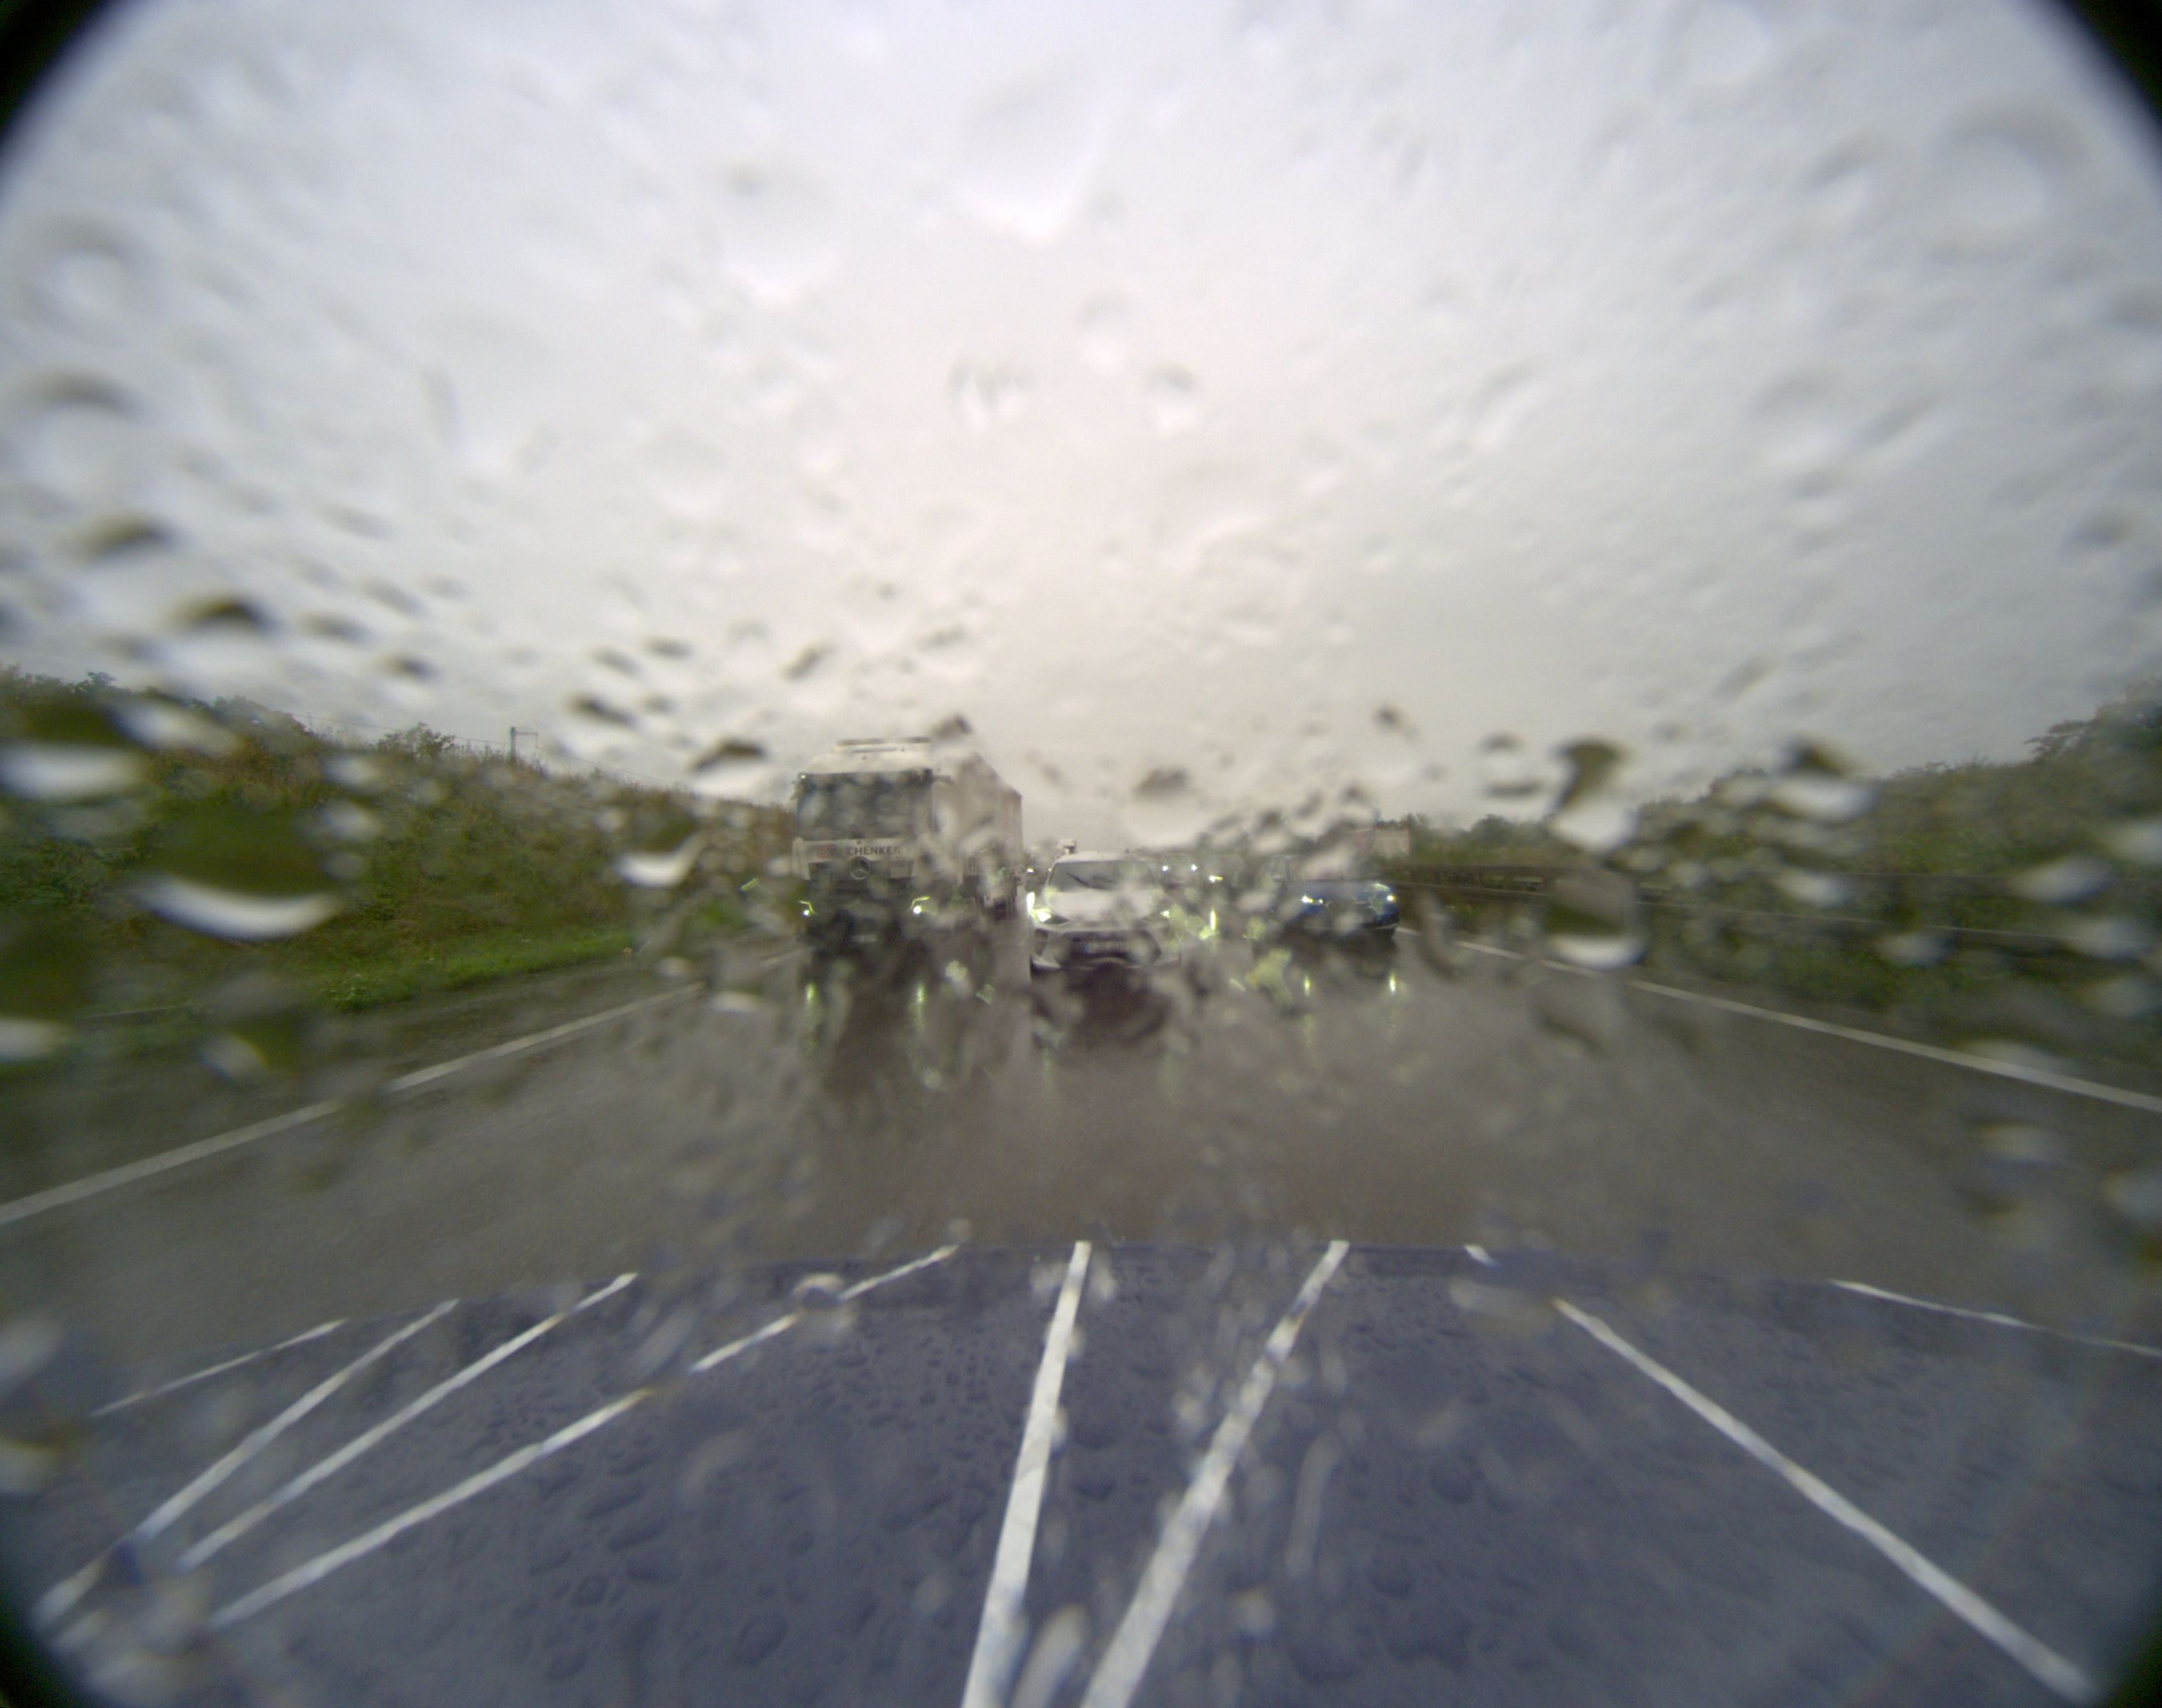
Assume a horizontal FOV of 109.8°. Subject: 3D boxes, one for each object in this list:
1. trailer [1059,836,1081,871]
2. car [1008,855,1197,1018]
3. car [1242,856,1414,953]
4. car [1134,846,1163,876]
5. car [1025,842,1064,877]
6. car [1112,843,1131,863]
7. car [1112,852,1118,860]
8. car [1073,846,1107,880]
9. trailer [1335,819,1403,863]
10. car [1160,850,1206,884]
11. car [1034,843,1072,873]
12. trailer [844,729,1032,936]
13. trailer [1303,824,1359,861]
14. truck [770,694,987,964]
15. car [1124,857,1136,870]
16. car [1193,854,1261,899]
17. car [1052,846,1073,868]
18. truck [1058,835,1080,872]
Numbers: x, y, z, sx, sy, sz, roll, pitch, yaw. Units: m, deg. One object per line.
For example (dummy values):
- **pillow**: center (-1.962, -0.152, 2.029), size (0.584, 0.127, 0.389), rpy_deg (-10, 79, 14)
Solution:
- **trailer**: center (-1.444, -0.040, 104.569), size (2.628, 4.635, 9.222), rpy_deg (-2, 0, 1)
- **car**: center (0.252, 0.855, 9.819), size (1.893, 1.578, 4.000), rpy_deg (-2, 1, 1)
- **car**: center (4.390, 0.805, 14.293), size (1.790, 1.467, 4.512), rpy_deg (-2, 0, 1)
- **car**: center (4.828, 0.486, 54.751), size (1.888, 2.002, 4.270), rpy_deg (-2, 0, 4)
- **car**: center (-2.250, 0.316, 47.944), size (1.946, 2.002, 4.446), rpy_deg (-2, 1, 3)
- **car**: center (4.227, -0.098, 79.215), size (1.737, 2.002, 4.223), rpy_deg (-2, 0, 1)
- **car**: center (7.496, 0.474, 167.103), size (1.279, 1.567, 2.848), rpy_deg (-2, 0, 0)
- **car**: center (0.604, 0.554, 47.669), size (1.998, 2.002, 4.000), rpy_deg (-2, 0, 2)
- **trailer**: center (22.074, -0.950, 58.783), size (1.998, 3.064, 8.871), rpy_deg (-2, 0, 1)
- **car**: center (5.359, 0.655, 40.480), size (1.889, 1.622, 4.269), rpy_deg (-2, 0, 0)
- **car**: center (-1.956, 0.248, 54.517), size (2.260, 2.002, 4.270), rpy_deg (-2, 1, 4)
- **trailer**: center (-3.440, -0.517, 22.937), size (2.633, 4.224, 14.175), rpy_deg (-2, 1, 1)
- **trailer**: center (22.199, -0.990, 68.011), size (1.998, 3.064, 9.554), rpy_deg (-2, 0, 1)
- **truck**: center (-3.542, -0.422, 14.667), size (2.633, 4.229, 5.042), rpy_deg (-2, 1, 0)
- **car**: center (6.359, 1.255, 98.945), size (1.458, 1.540, 2.804), rpy_deg (0, 2, 1)
- **car**: center (5.129, 0.747, 27.184), size (1.613, 1.428, 4.370), rpy_deg (-2, 0, 1)
- **car**: center (-1.939, 0.302, 79.242), size (1.998, 2.231, 4.000), rpy_deg (-2, 0, 1)
- **truck**: center (-1.562, -0.066, 99.307), size (2.628, 4.635, 4.290), rpy_deg (-2, 0, 1)
